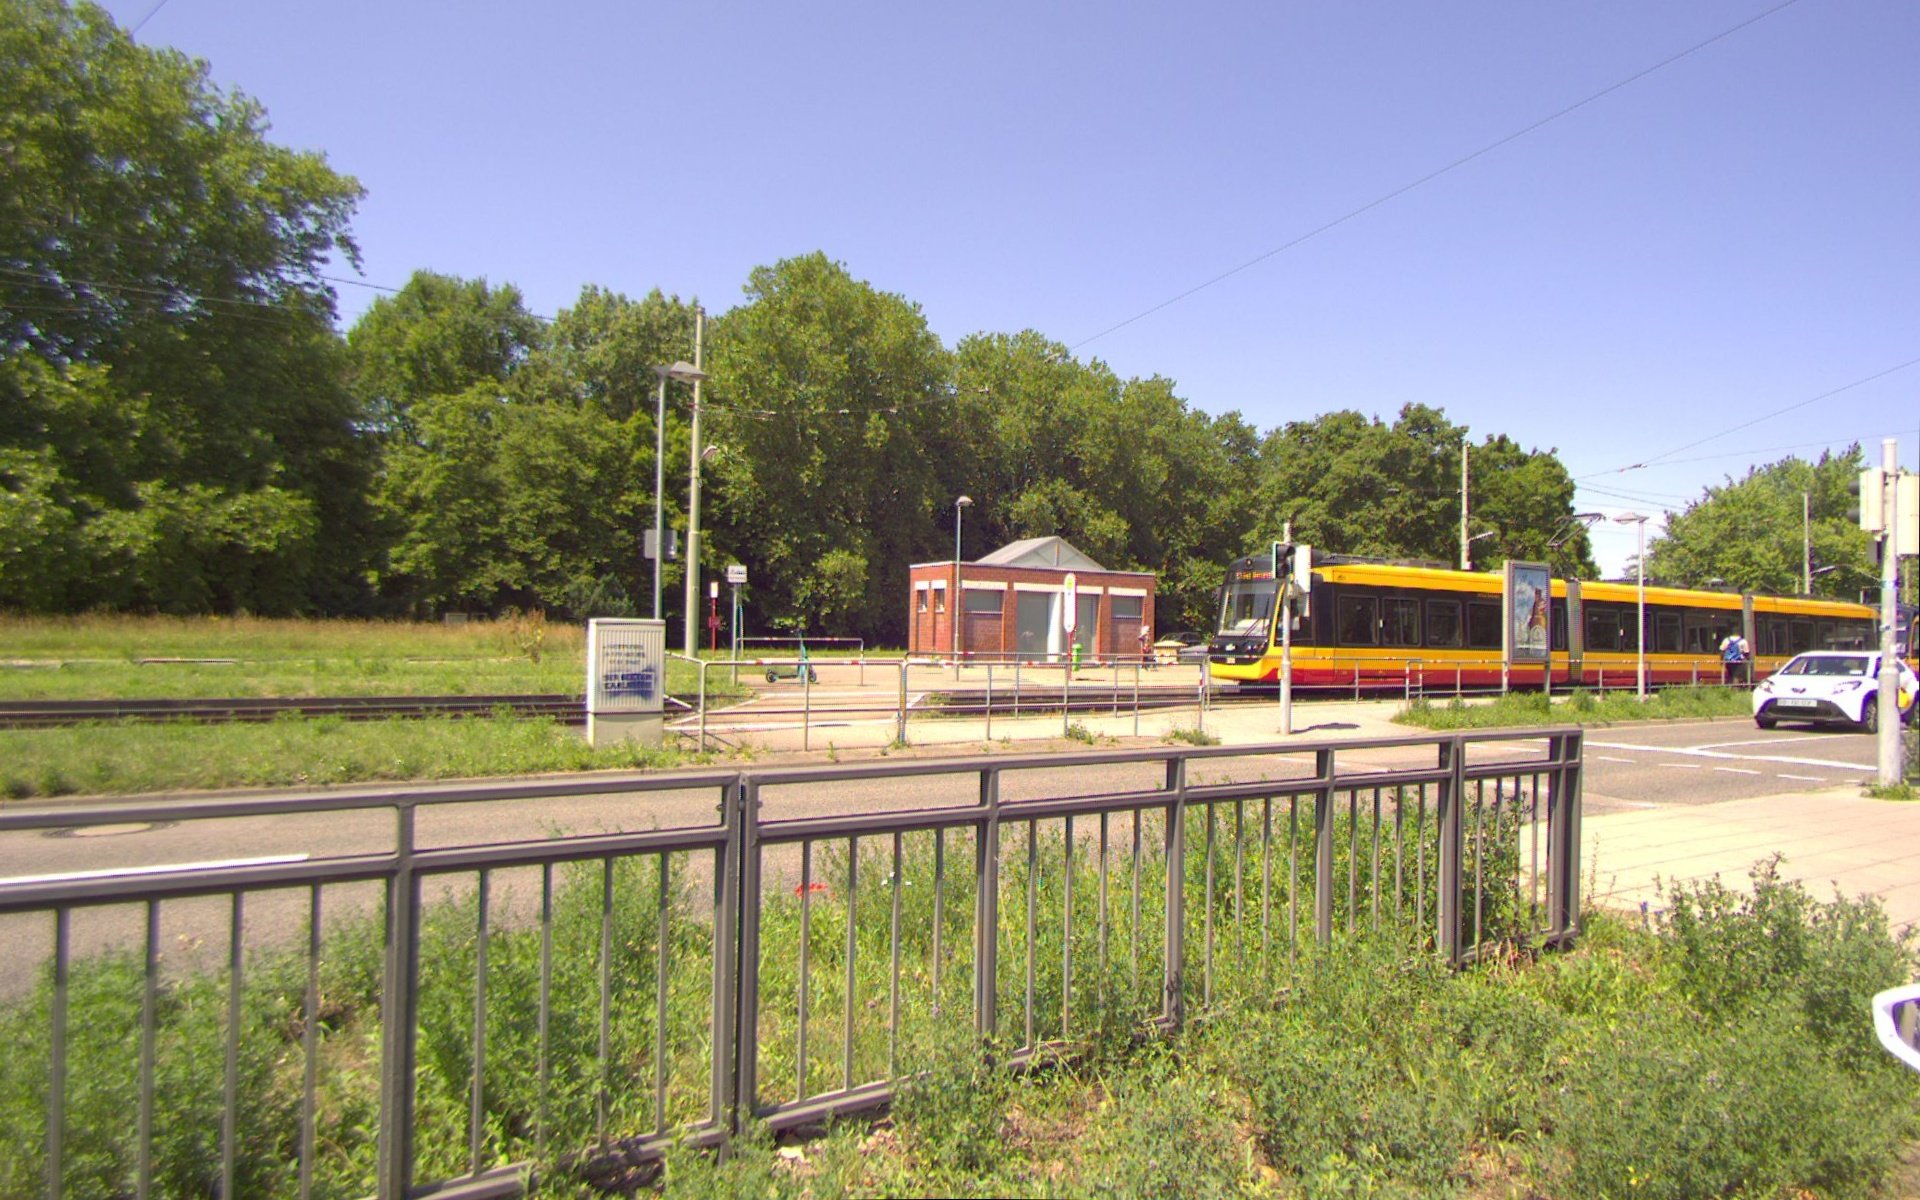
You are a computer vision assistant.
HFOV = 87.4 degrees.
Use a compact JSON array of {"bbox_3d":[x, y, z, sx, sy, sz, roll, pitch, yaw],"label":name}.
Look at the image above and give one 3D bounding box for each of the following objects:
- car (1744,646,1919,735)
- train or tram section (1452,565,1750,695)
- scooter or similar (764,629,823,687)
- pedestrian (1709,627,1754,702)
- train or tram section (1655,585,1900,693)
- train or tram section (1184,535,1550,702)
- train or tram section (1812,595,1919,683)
[{"bbox_3d":[17.094,1.701,19.539,3.678,1.524,1.760,2,-2,-32],"label":"car"},{"bbox_3d":[21.747,1.063,33.663,12.448,3.791,3.029,2,0,-30],"label":"train or tram section"},{"bbox_3d":[-3.776,1.297,22.738,1.087,1.253,0.765,2,0,-30],"label":"scooter or similar"},{"bbox_3d":[19.370,1.613,25.228,0.767,1.815,0.628,2,0,-31],"label":"pedestrian"},{"bbox_3d":[32.855,1.582,40.082,13.104,3.817,3.030,2,0,-30],"label":"train or tram section"},{"bbox_3d":[11.476,0.598,27.593,11.406,3.906,2.936,2,0,-30],"label":"train or tram section"},{"bbox_3d":[44.428,1.832,46.886,13.743,3.672,3.027,2,0,-32],"label":"train or tram section"}]
